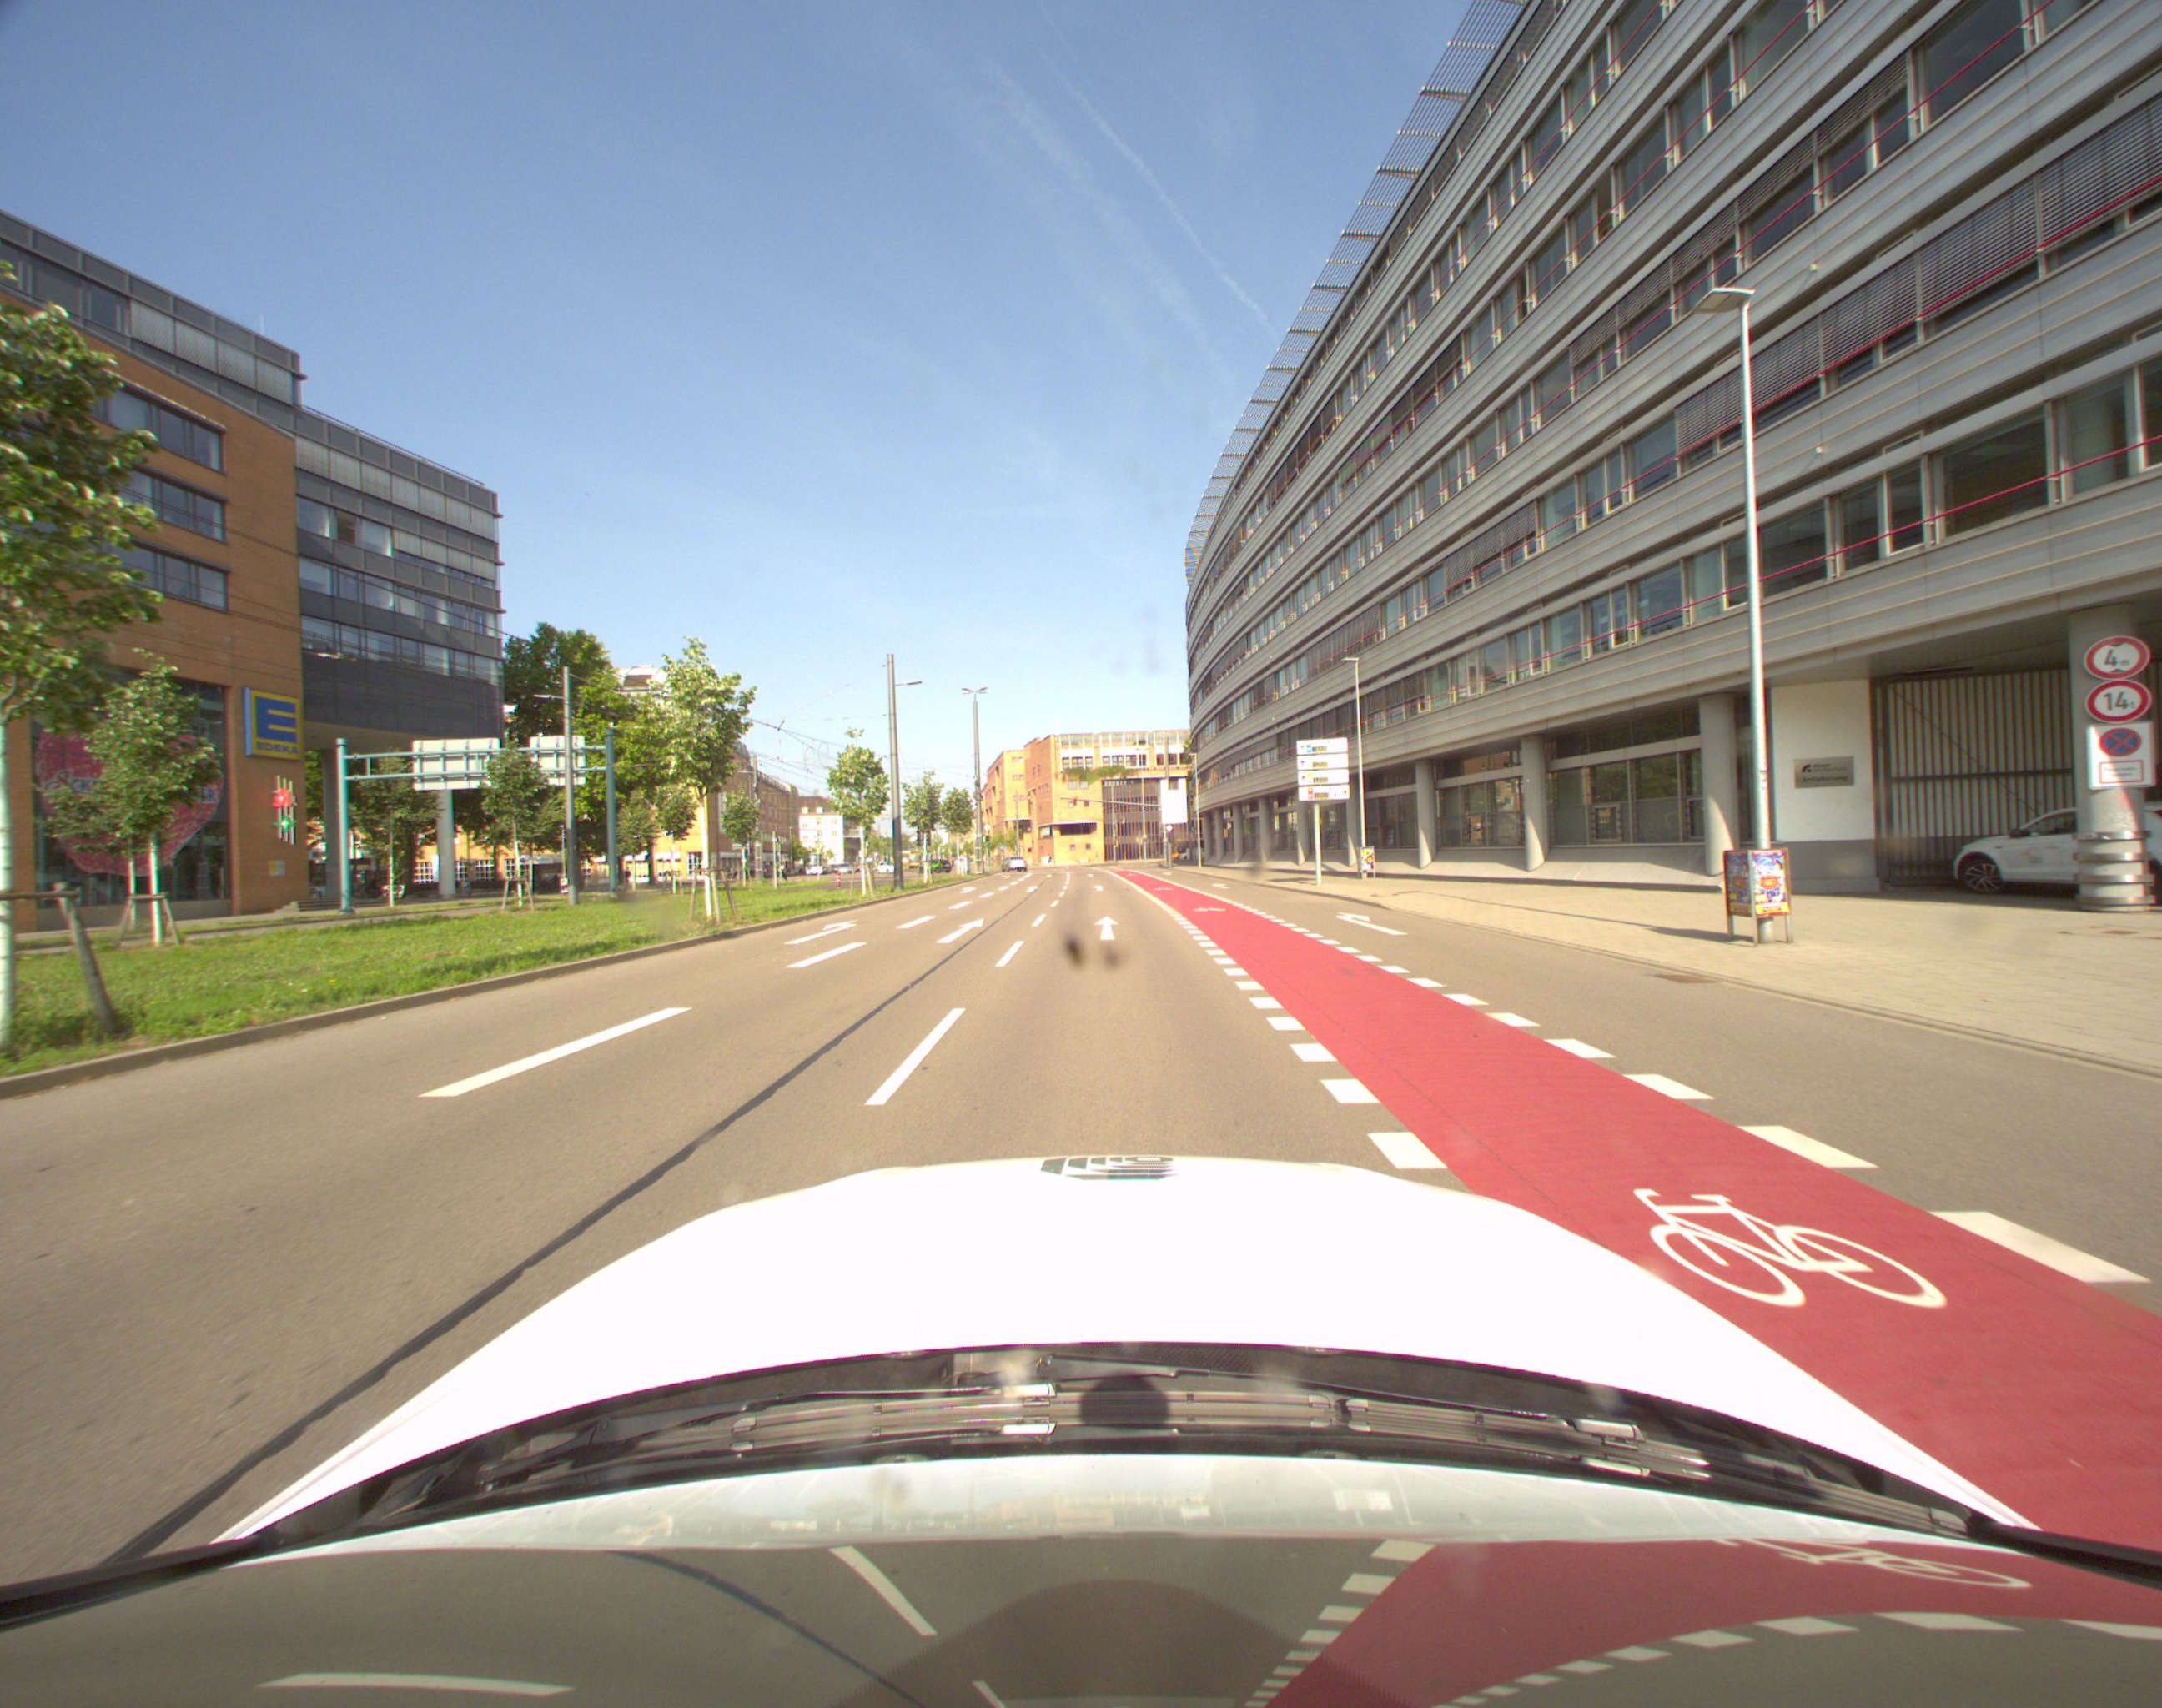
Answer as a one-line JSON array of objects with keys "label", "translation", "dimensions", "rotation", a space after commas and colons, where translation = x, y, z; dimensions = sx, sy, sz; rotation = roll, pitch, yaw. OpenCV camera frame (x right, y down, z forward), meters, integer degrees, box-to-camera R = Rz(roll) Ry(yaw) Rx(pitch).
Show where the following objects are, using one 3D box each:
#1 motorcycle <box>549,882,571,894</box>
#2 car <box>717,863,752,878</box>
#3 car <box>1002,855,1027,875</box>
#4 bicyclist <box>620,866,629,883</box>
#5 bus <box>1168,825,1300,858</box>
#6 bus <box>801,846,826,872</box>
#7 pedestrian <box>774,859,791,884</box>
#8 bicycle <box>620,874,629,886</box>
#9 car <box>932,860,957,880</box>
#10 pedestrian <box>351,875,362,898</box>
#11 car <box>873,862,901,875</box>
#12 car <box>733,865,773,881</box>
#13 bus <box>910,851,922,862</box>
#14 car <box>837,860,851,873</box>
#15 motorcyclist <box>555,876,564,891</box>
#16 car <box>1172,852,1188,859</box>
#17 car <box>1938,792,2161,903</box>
[{"label": "motorcycle", "translation": [-47.378, 3.125, 74.121], "dimensions": [1.689, 0.995, 0.283], "rotation": [-2, 0, -9]}, {"label": "car", "translation": [-43.560, 2.052, 102.400], "dimensions": [3.593, 1.624, 1.871], "rotation": [-2, 0, 6]}, {"label": "car", "translation": [-6.169, 1.025, 74.827], "dimensions": [1.707, 1.755, 3.872], "rotation": [-2, -2, -13]}, {"label": "bicyclist", "translation": [-45.733, 2.057, 81.590], "dimensions": [0.669, 1.747, 0.957], "rotation": [-1, -2, -34]}, {"label": "bus", "translation": [20.878, -1.681, 111.786], "dimensions": [17.561, 3.811, 2.863], "rotation": [-2, -2, -2]}, {"label": "bus", "translation": [-44.424, 0.822, 135.355], "dimensions": [2.750, 3.921, 12.160], "rotation": [-2, 0, -13]}, {"label": "pedestrian", "translation": [-24.863, 1.432, 67.835], "dimensions": [1.155, 2.014, 0.773], "rotation": [-2, -2, -10]}, {"label": "bicycle", "translation": [-45.730, 2.604, 81.582], "dimensions": [0.552, 1.206, 2.262], "rotation": [-1, -2, -35]}, {"label": "car", "translation": [-15.015, 1.783, 89.782], "dimensions": [1.987, 2.014, 4.241], "rotation": [-2, -2, 0]}, {"label": "pedestrian", "translation": [-64.062, 2.854, 71.988], "dimensions": [0.489, 2.014, 0.538], "rotation": [-2, -2, -9]}, {"label": "car", "translation": [-24.209, 1.800, 101.501], "dimensions": [3.403, 1.542, 1.746], "rotation": [-4, -2, 40]}, {"label": "car", "translation": [-39.221, 2.284, 97.445], "dimensions": [3.964, 1.678, 2.005], "rotation": [-2, -2, 8]}, {"label": "bus", "translation": [-33.422, 0.524, 165.298], "dimensions": [1.998, 2.013, 3.978], "rotation": [-2, 0, -16]}, {"label": "car", "translation": [-33.233, 1.765, 114.195], "dimensions": [1.688, 1.634, 4.369], "rotation": [-3, 1, -16]}, {"label": "motorcyclist", "translation": [-47.444, 2.725, 74.117], "dimensions": [0.530, 1.322, 0.417], "rotation": [-2, 0, -9]}, {"label": "car", "translation": [13.156, 0.214, 107.925], "dimensions": [1.948, 0.958, 1.092], "rotation": [0, -3, -5]}, {"label": "car", "translation": [16.613, -0.170, 13.173], "dimensions": [1.733, 1.589, 4.011], "rotation": [-2, 1, 10]}]
